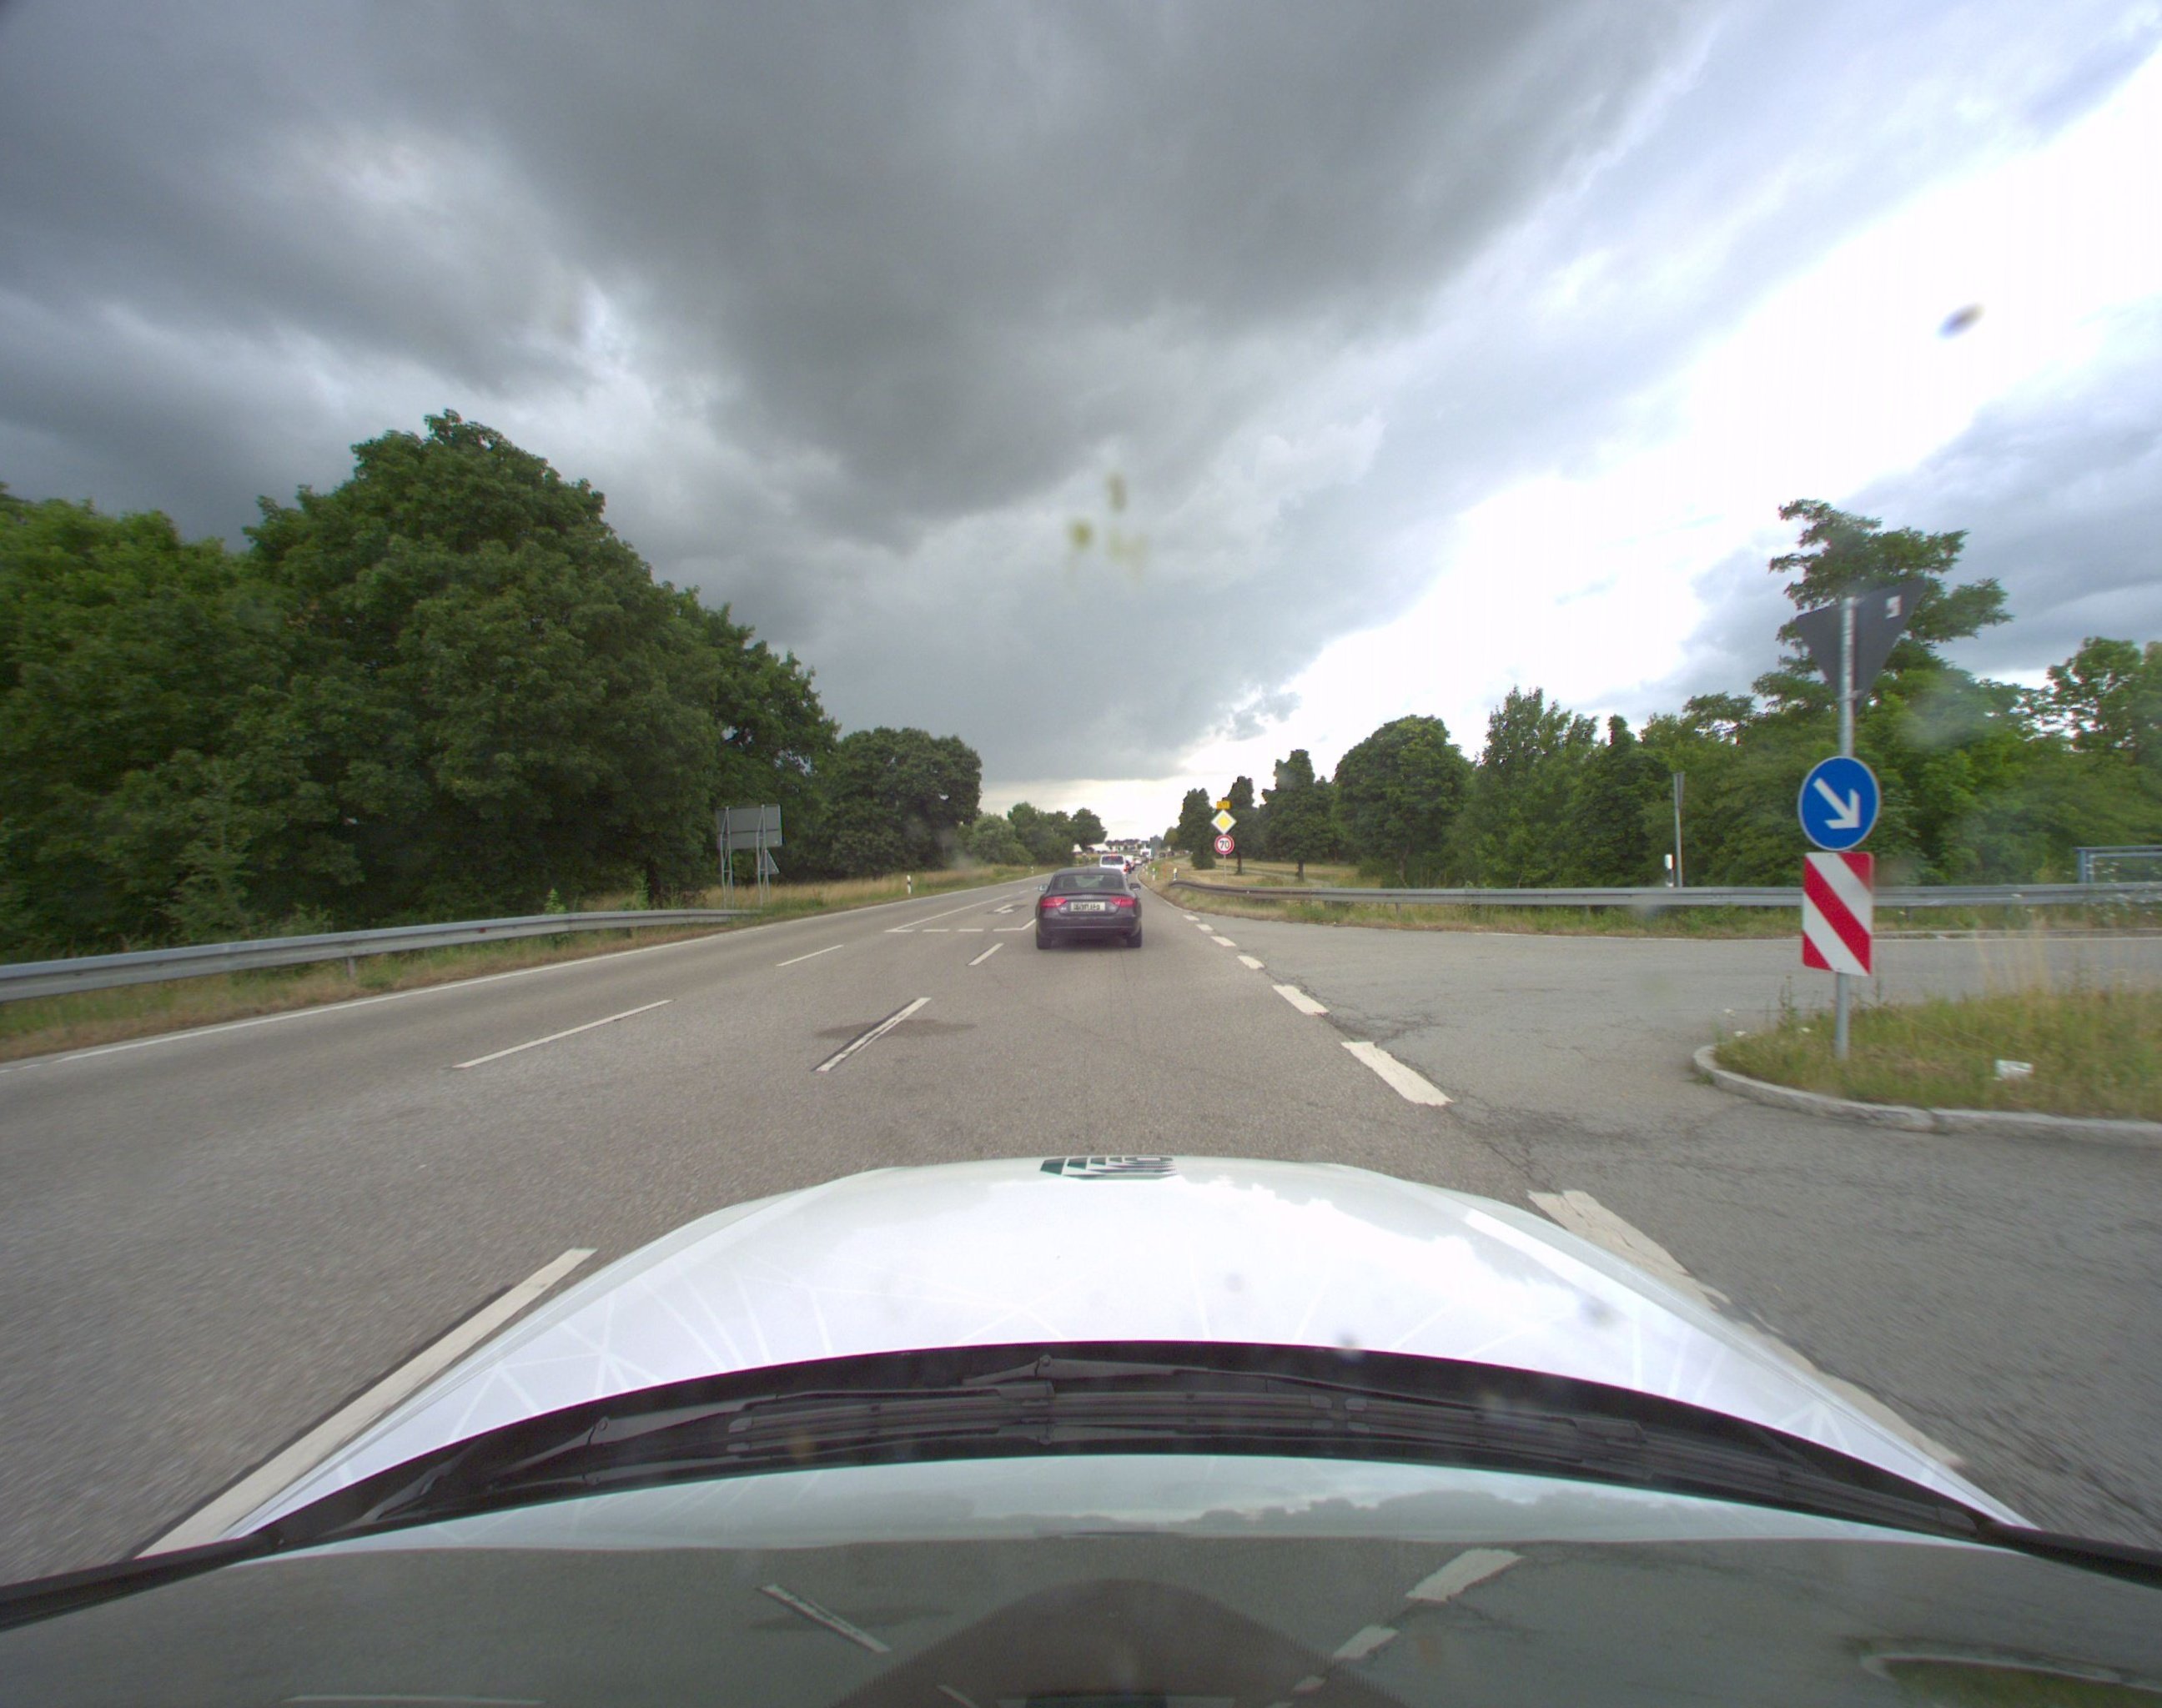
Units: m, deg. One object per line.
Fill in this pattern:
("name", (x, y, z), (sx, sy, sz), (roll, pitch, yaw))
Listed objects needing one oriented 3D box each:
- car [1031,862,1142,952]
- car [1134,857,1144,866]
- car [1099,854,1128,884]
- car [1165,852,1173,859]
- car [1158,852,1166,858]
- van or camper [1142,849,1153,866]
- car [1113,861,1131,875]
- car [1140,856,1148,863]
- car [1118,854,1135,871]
("car", (0.147, 0.871, 15.056), (1.776, 1.376, 4.002), (0, 0, 2))
("car", (9.800, 1.221, 137.931), (1.728, 1.514, 3.750), (-1, 0, 3))
("car", (2.081, 0.946, 52.761), (1.832, 1.882, 4.002), (0, 0, 2))
("car", (26.116, 0.581, 240.773), (1.986, 2.014, 4.001), (-1, 0, 1))
("car", (21.477, 0.268, 215.832), (1.712, 1.451, 4.003), (0, 0, 3))
("van or camper", (14.096, 0.715, 173.383), (2.330, 3.481, 5.724), (-1, -1, 4))
("car", (4.500, 1.501, 88.125), (1.787, 1.464, 3.253), (-1, 0, 5))
("car", (11.912, 0.995, 154.366), (1.253, 1.353, 3.468), (-1, 0, 2))
("car", (5.860, 1.036, 103.644), (1.984, 2.088, 4.005), (-1, -1, 5))
